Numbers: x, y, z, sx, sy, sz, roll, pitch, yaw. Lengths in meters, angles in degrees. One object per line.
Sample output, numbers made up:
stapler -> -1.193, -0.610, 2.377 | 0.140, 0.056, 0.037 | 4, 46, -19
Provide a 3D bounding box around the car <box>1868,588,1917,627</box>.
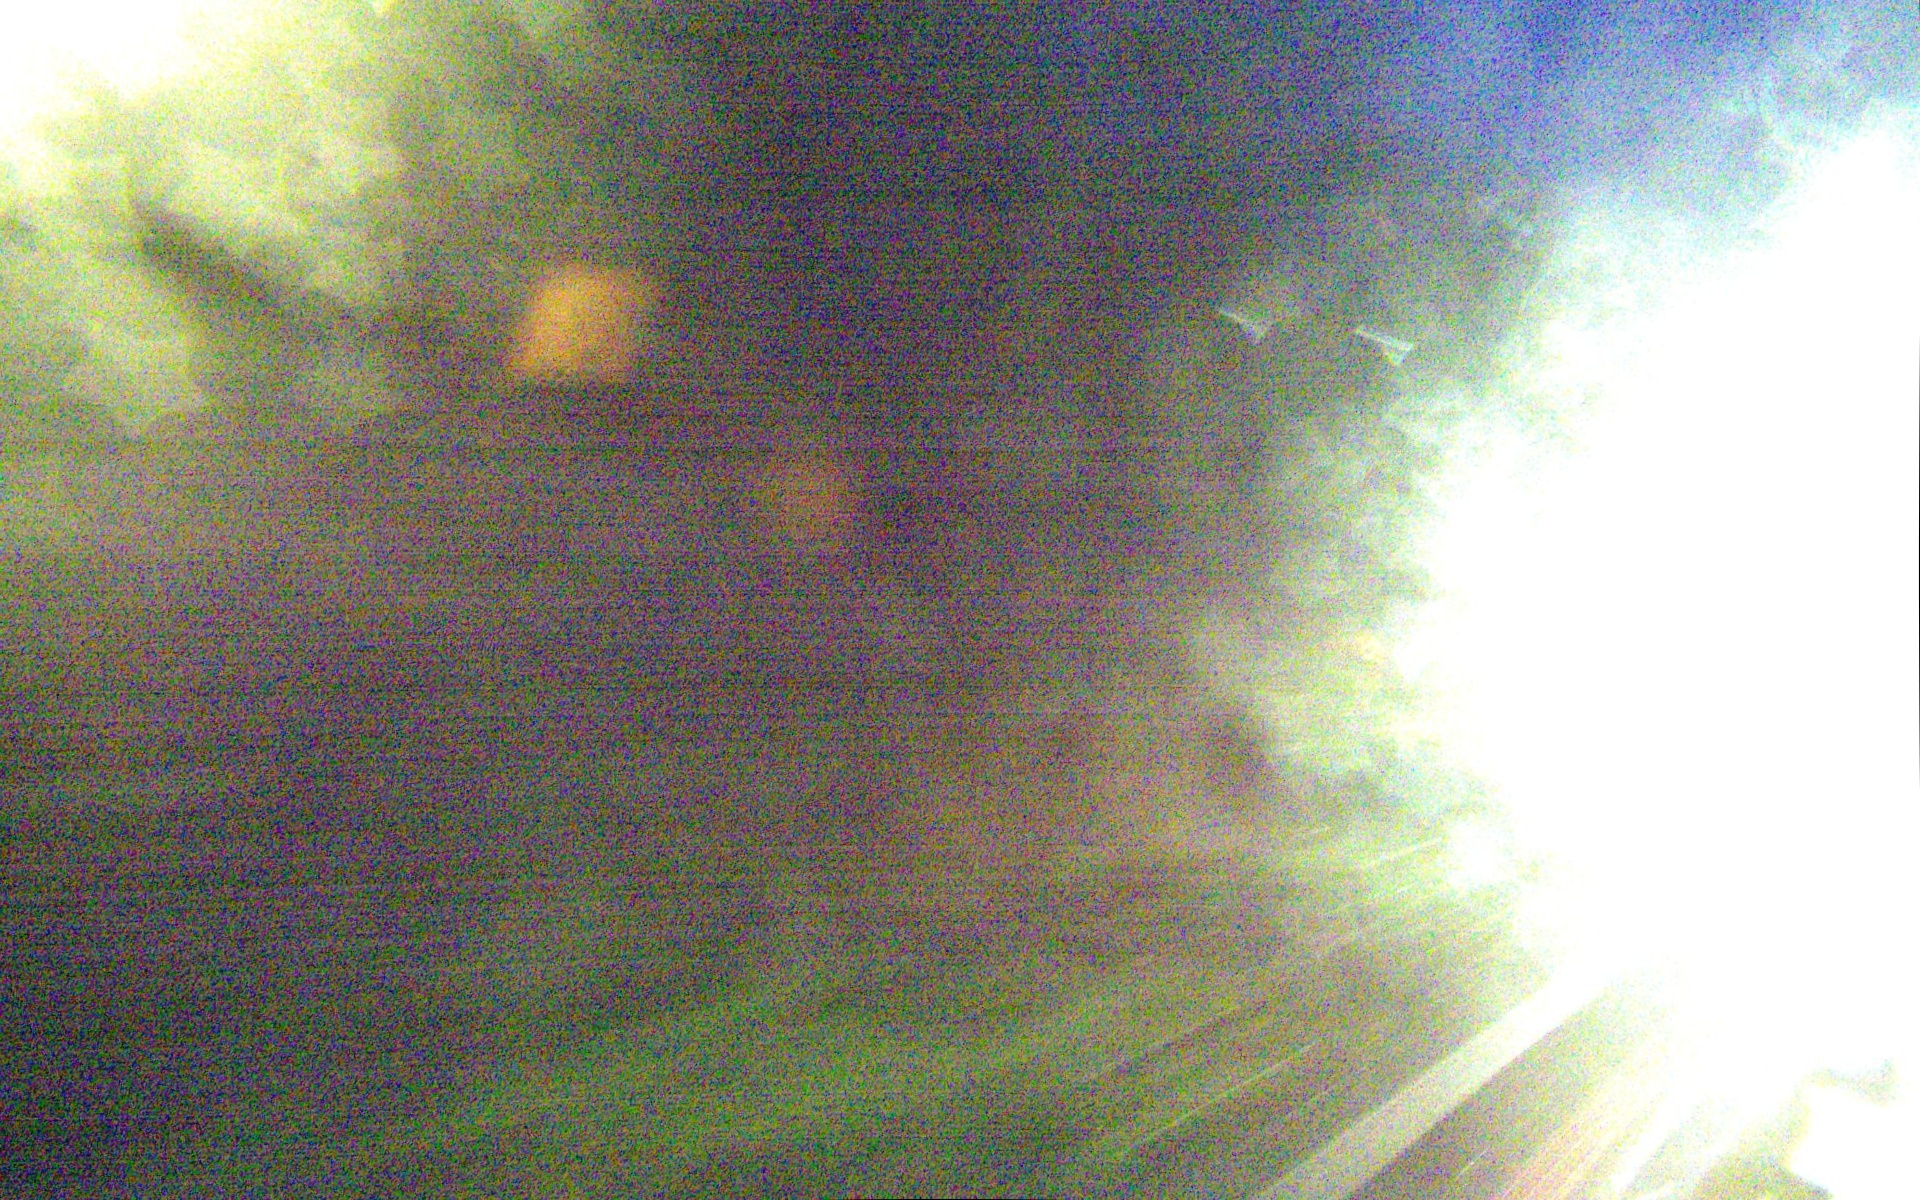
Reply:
car -> 45.494, 0.319, 49.421 | 1.703, 1.794, 3.939 | 0, 1, 42
